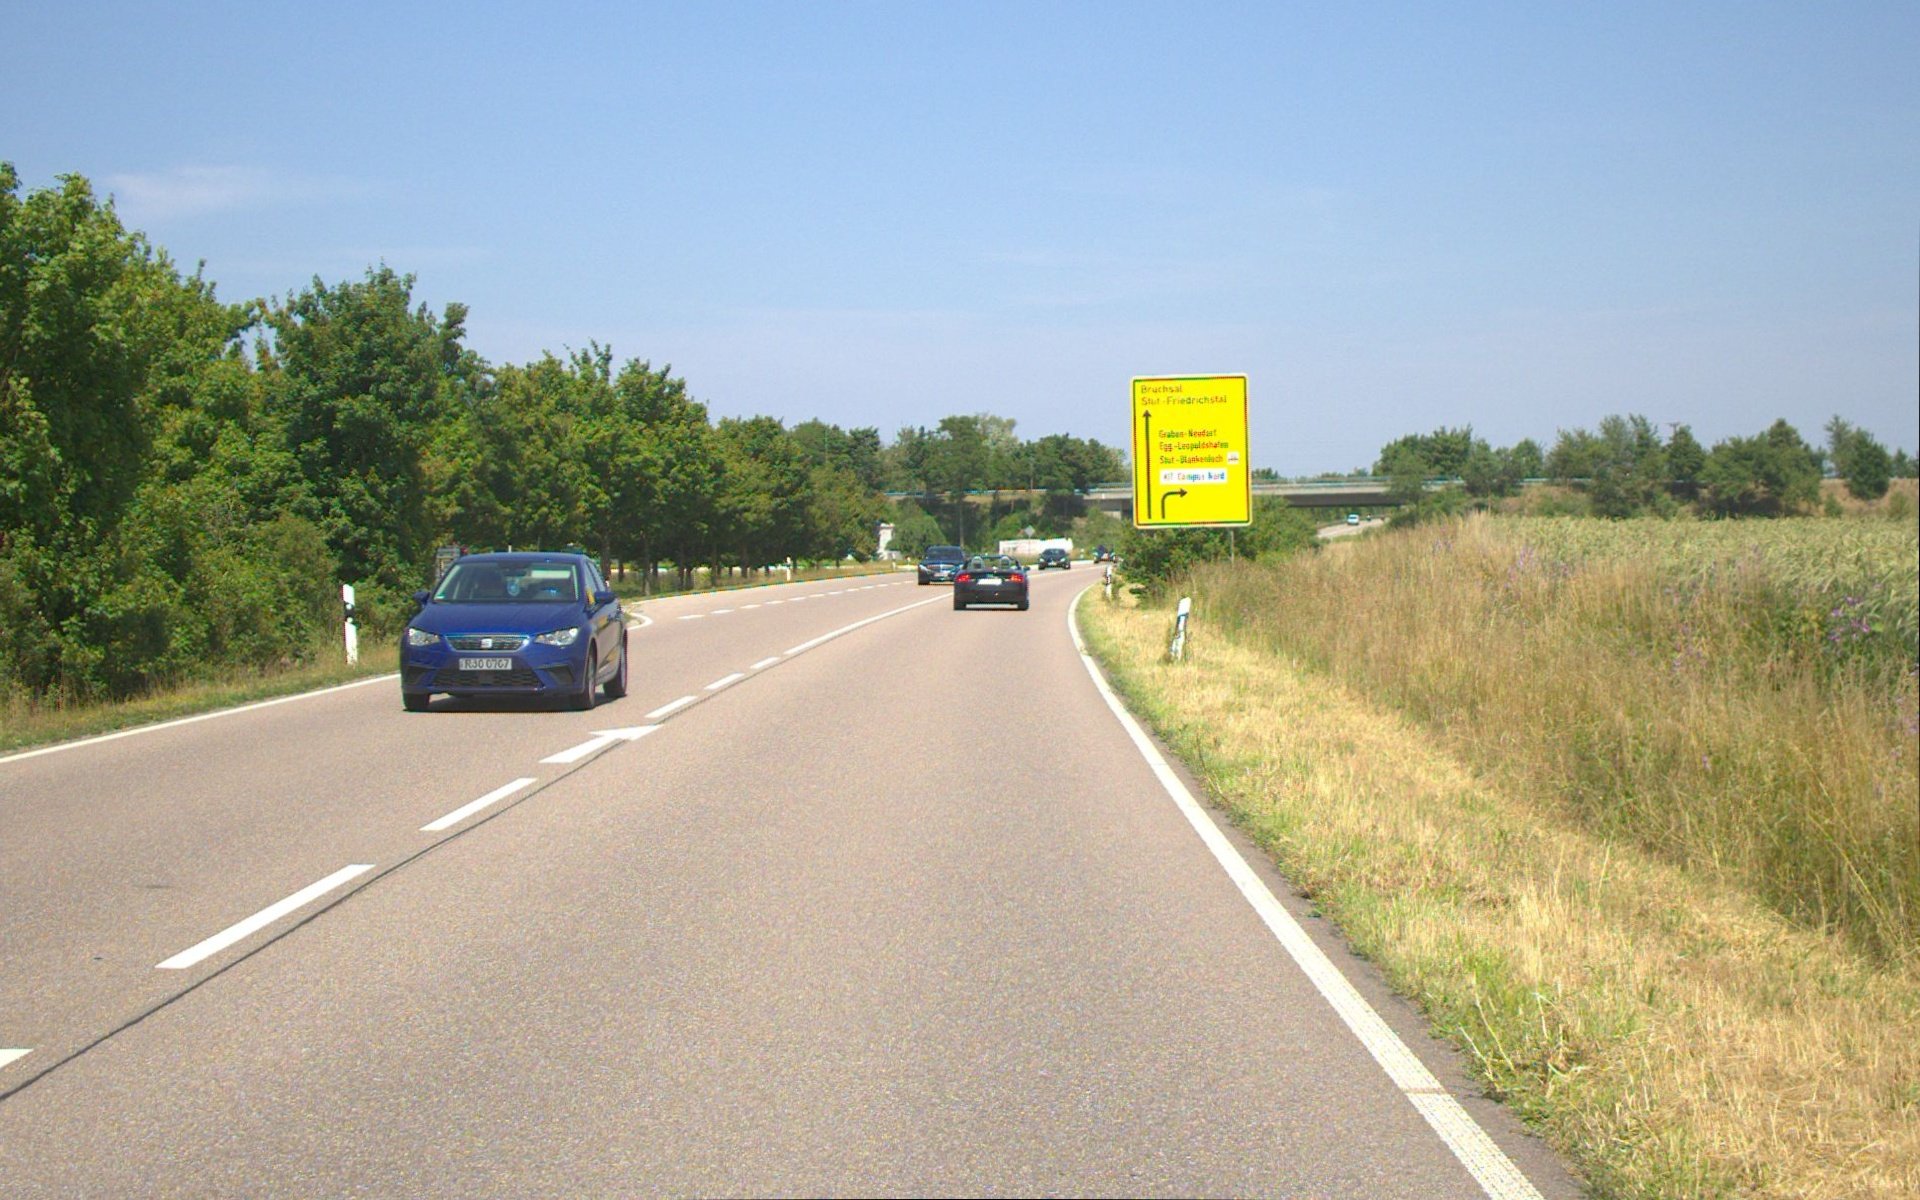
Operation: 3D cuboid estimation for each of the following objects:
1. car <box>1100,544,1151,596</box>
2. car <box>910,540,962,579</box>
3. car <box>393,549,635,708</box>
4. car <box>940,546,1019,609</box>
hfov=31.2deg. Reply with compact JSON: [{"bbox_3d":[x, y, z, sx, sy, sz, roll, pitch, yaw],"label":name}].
[{"bbox_3d":[6.587,-1.181,137.188,1.747,2.007,4.000,1,0,-1],"label":"car"},{"bbox_3d":[-0.896,-1.533,129.820,1.781,1.415,4.534,0,1,2],"label":"car"},{"bbox_3d":[-4.168,0.225,32.663,1.653,1.402,4.000,0,1,2],"label":"car"},{"bbox_3d":[0.479,-0.543,81.709,1.814,1.436,4.000,1,1,1],"label":"car"}]
